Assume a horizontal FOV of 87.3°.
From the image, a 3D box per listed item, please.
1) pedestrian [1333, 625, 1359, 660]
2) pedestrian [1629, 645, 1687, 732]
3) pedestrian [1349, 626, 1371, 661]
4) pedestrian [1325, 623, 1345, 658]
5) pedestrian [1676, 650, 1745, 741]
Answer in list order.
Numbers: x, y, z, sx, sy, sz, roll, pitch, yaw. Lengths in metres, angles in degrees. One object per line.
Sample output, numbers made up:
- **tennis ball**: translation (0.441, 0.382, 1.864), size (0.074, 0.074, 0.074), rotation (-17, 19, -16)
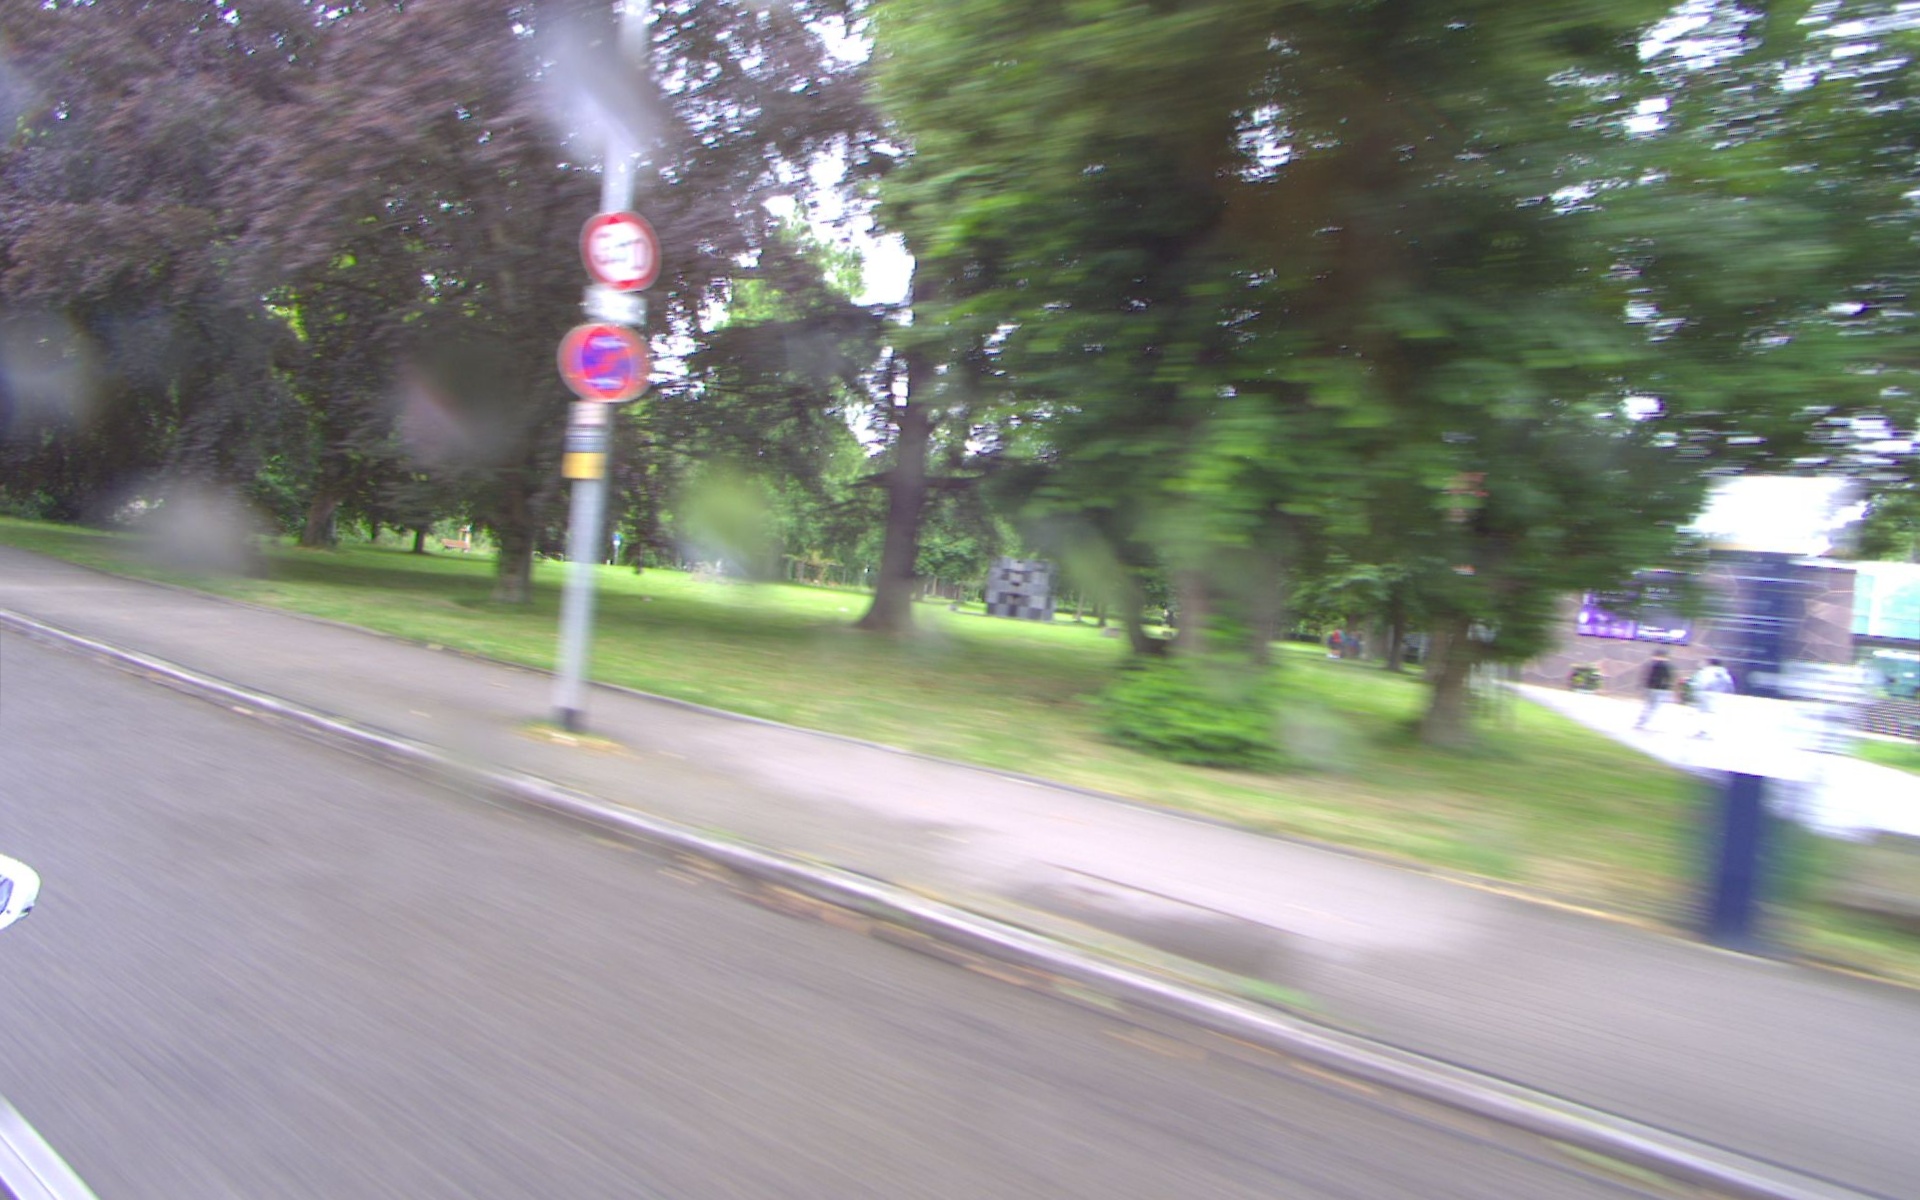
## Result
- **pedestrian**: translation (21.568, 2.365, 56.159), size (0.845, 1.783, 0.838), rotation (7, -1, -17)
- **pedestrian**: translation (15.313, 1.951, 22.106), size (0.758, 1.783, 0.840), rotation (7, -1, 26)
- **pedestrian**: translation (21.738, 2.350, 54.672), size (0.843, 1.783, 0.840), rotation (7, -1, 26)
- **pedestrian**: translation (20.500, 2.199, 54.963), size (0.758, 1.783, 0.840), rotation (7, -1, 26)
- **pedestrian**: translation (15.993, 2.029, 21.458), size (0.864, 1.783, 0.840), rotation (7, -1, 26)
